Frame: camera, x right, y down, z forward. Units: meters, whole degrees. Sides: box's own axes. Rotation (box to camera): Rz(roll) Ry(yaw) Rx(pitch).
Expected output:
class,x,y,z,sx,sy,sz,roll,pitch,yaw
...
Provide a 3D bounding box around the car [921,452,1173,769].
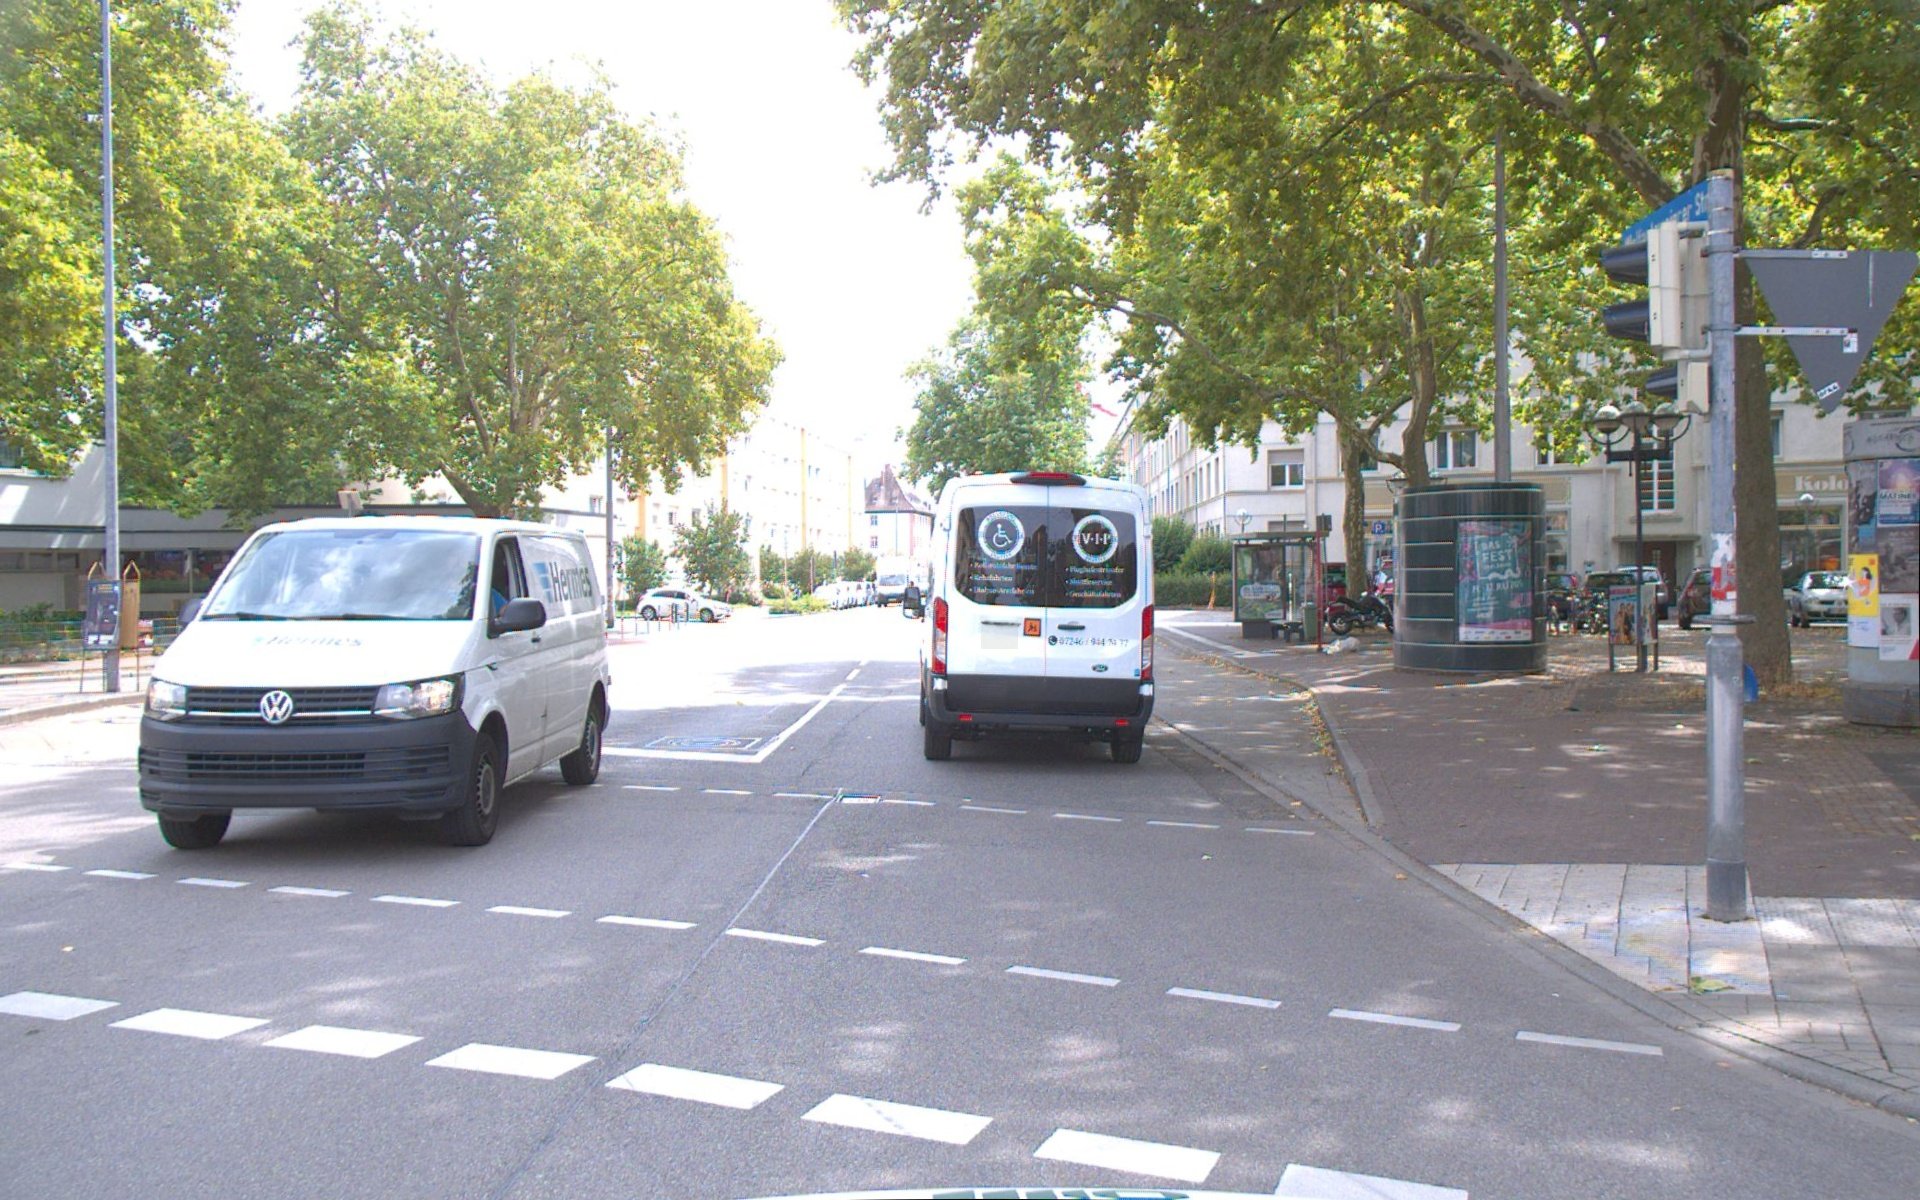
class,x,y,z,sx,sy,sz,roll,pitch,yaw
car,0.772,0.075,16.117,2.027,2.584,4.635,2,0,1

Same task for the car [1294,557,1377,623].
class,x,y,z,sx,sy,sz,roll,pitch,yaw
car,10.677,-0.286,46.793,1.892,1.735,4.333,-1,0,18

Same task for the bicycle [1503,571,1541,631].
class,x,y,z,sx,sy,sz,roll,pitch,yaw
bicycle,13.646,0.011,40.140,0.411,1.402,2.307,-1,1,30

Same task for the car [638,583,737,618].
class,x,y,z,sx,sy,sz,roll,pitch,yaw
car,-12.374,0.025,75.169,4.084,1.476,1.850,2,-1,3

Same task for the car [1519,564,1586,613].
class,x,y,z,sx,sy,sz,roll,pitch,yaw
car,19.326,-0.380,53.879,1.952,1.530,4.195,-1,0,21

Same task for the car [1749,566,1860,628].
class,x,y,z,sx,sy,sz,roll,pitch,yaw
car,21.665,-0.084,42.581,1.952,1.489,4.002,-1,0,19

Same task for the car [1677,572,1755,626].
class,x,y,z,sx,sy,sz,roll,pitch,yaw
car,23.788,-0.061,52.173,1.952,1.618,4.195,-1,0,21

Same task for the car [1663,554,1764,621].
class,x,y,z,sx,sy,sz,roll,pitch,yaw
car,19.507,-0.327,42.966,1.952,1.627,4.002,-1,0,19

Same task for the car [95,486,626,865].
class,x,y,z,sx,sy,sz,roll,pitch,yaw
car,-3.614,0.353,11.093,1.885,1.970,4.946,0,1,-2

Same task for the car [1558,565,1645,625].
class,x,y,z,sx,sy,sz,roll,pitch,yaw
car,16.917,-0.140,43.772,1.952,1.489,4.002,-1,0,19

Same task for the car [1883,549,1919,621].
class,x,y,z,sx,sy,sz,roll,pitch,yaw
car,24.555,-0.396,41.148,1.952,1.724,4.562,-1,0,19

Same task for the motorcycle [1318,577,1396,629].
class,x,y,z,sx,sy,sz,roll,pitch,yaw
motorcycle,9.988,0.070,41.640,1.817,1.244,0.530,-1,1,-5

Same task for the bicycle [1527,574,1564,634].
class,x,y,z,sx,sy,sz,roll,pitch,yaw
bicycle,14.077,0.070,39.764,0.411,1.402,2.307,-1,0,30

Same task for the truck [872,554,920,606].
class,x,y,z,sx,sy,sz,roll,pitch,yaw
truck,-4.125,-1.310,107.800,2.489,3.161,7.022,-3,0,2

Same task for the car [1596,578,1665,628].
class,x,y,z,sx,sy,sz,roll,pitch,yaw
car,21.566,0.076,53.298,1.952,1.513,4.195,-1,0,21
